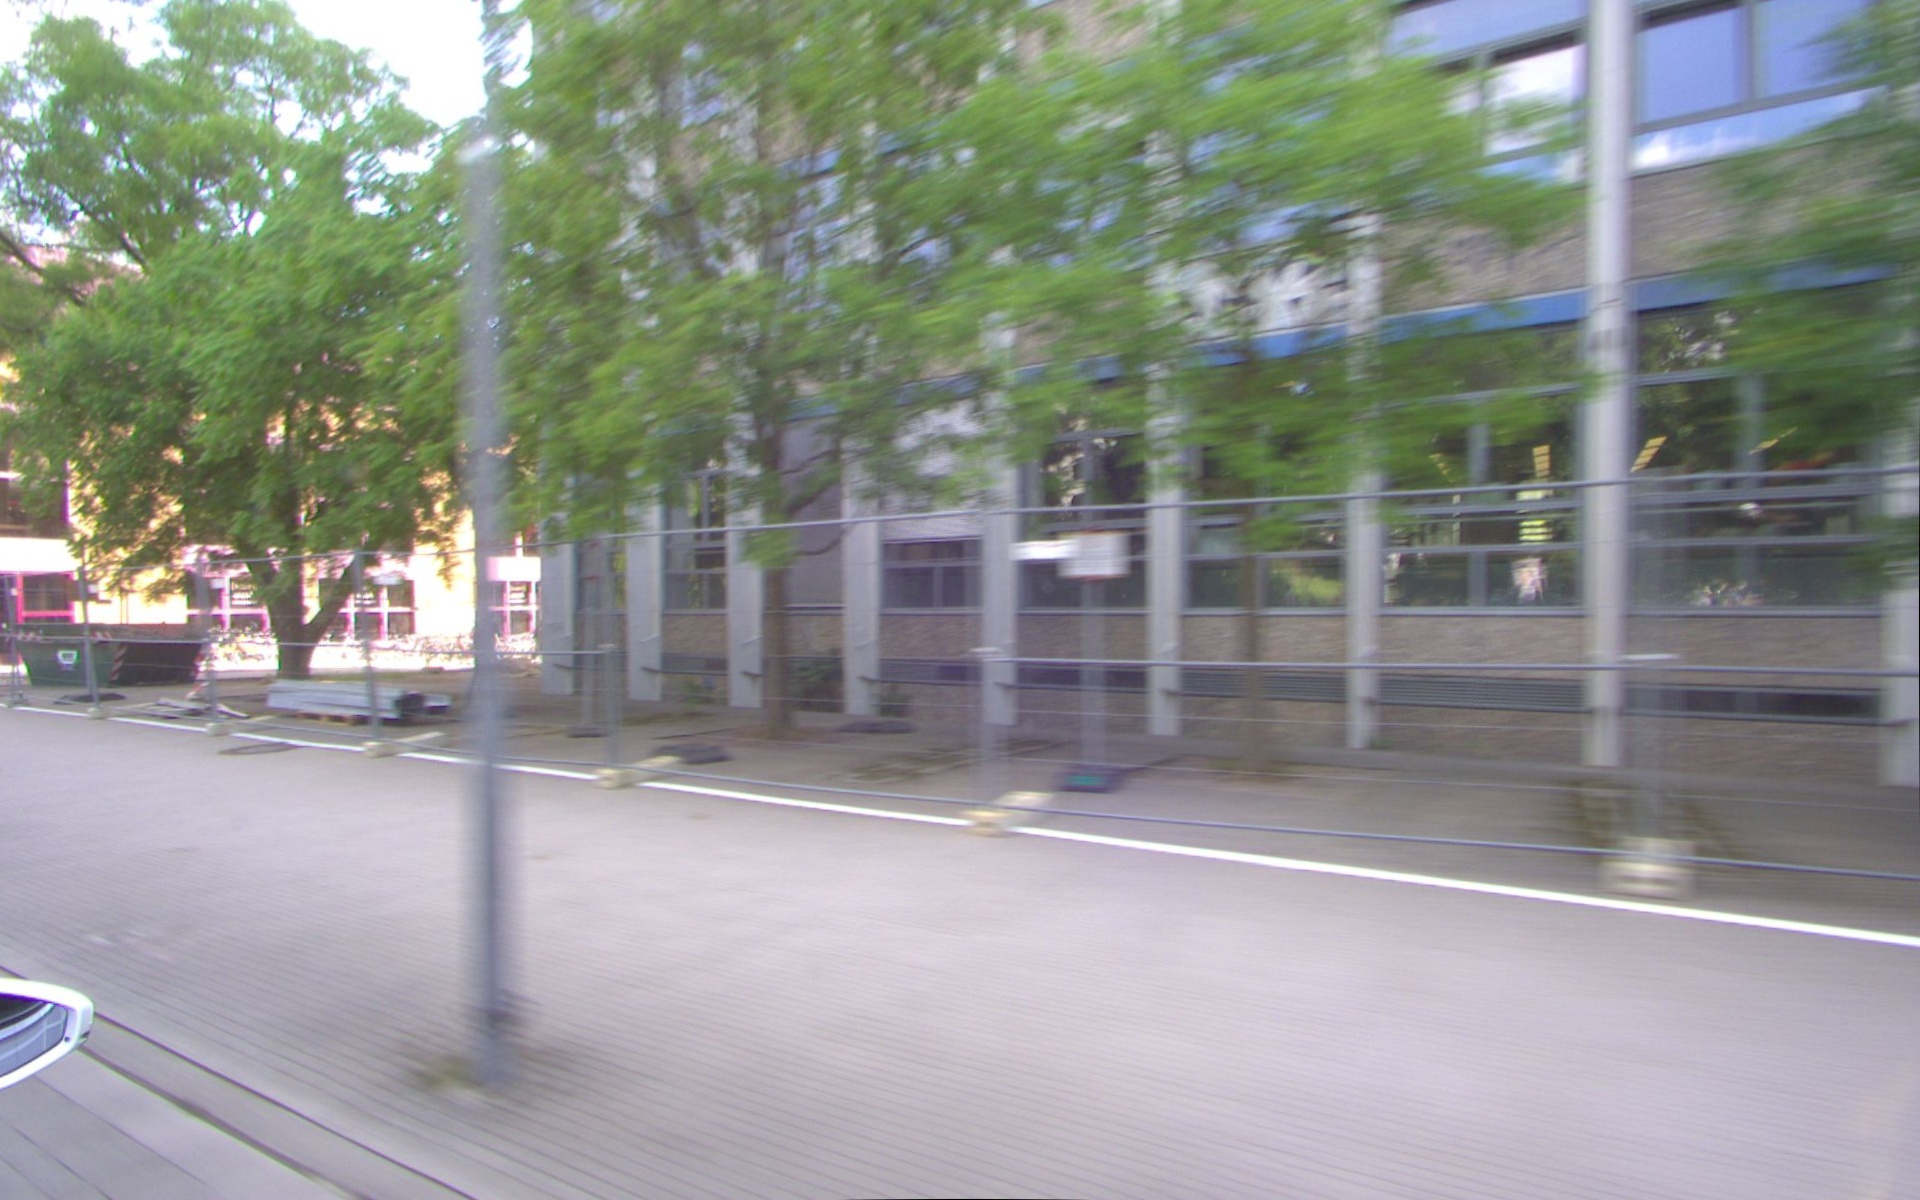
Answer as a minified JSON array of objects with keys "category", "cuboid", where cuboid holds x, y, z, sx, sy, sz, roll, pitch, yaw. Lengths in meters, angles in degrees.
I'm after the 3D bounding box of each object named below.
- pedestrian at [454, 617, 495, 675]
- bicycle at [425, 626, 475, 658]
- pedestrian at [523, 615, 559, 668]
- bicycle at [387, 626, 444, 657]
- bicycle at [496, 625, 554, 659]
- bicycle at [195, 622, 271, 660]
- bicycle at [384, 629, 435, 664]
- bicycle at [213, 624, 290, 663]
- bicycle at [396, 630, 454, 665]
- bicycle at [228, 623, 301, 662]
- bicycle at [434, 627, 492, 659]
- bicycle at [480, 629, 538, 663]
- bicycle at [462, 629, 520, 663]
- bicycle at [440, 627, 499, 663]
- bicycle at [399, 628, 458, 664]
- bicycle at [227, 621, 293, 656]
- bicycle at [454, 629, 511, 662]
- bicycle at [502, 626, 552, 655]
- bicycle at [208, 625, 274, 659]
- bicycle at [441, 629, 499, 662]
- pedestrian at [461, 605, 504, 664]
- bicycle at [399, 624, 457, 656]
[{"category":"pedestrian","cuboid":[-15.105,1.418,31.153,0.674,1.750,0.901,-2,-1,26]},{"category":"bicycle","cuboid":[-19.285,1.597,37.902,0.465,1.184,2.001,1,-2,15]},{"category":"pedestrian","cuboid":[-14.339,1.420,34.279,0.674,1.750,0.901,-2,-1,26]},{"category":"bicycle","cuboid":[-21.151,1.625,38.955,0.467,1.184,1.995,0,-2,29]},{"category":"bicycle","cuboid":[-15.635,1.501,36.031,0.467,1.184,1.994,0,-2,30]},{"category":"bicycle","cuboid":[-21.889,1.239,30.185,0.516,1.124,1.807,0,-2,30]},{"category":"bicycle","cuboid":[-19.562,1.651,35.635,0.465,1.184,1.811,1,-2,15]},{"category":"bicycle","cuboid":[-21.226,1.291,30.022,0.516,1.124,1.805,0,-2,35]},{"category":"bicycle","cuboid":[-18.596,1.662,34.834,0.467,1.184,1.805,0,-2,29]},{"category":"bicycle","cuboid":[-20.349,1.245,29.334,0.468,1.124,1.690,0,-2,34]},{"category":"bicycle","cuboid":[-18.621,1.612,37.563,0.467,1.184,1.994,0,-2,30]},{"category":"bicycle","cuboid":[-16.282,1.653,36.170,0.467,1.184,1.994,0,-2,30]},{"category":"bicycle","cuboid":[-17.187,1.684,36.725,0.467,1.184,1.994,0,-2,30]},{"category":"bicycle","cuboid":[-16.785,1.544,34.312,0.467,1.184,1.802,0,-2,34]},{"category":"bicycle","cuboid":[-18.200,1.578,34.336,0.467,1.184,1.804,0,-2,31]},{"category":"bicycle","cuboid":[-23.472,1.288,33.622,0.466,1.124,1.807,0,-2,25]},{"category":"bicycle","cuboid":[-17.658,1.679,37.062,0.467,1.184,1.994,0,-2,30]},{"category":"bicycle","cuboid":[-18.269,1.729,42.268,0.537,1.184,1.994,0,-2,30]},{"category":"bicycle","cuboid":[-24.530,1.430,34.190,0.466,1.124,1.807,0,-2,25]},{"category":"bicycle","cuboid":[-18.186,1.676,37.191,0.467,1.184,1.994,0,-2,30]},{"category":"pedestrian","cuboid":[-14.571,1.042,30.560,0.674,1.750,0.901,-2,-1,26]},{"category":"bicycle","cuboid":[-20.368,1.525,38.396,0.467,1.184,1.995,0,-2,29]}]
